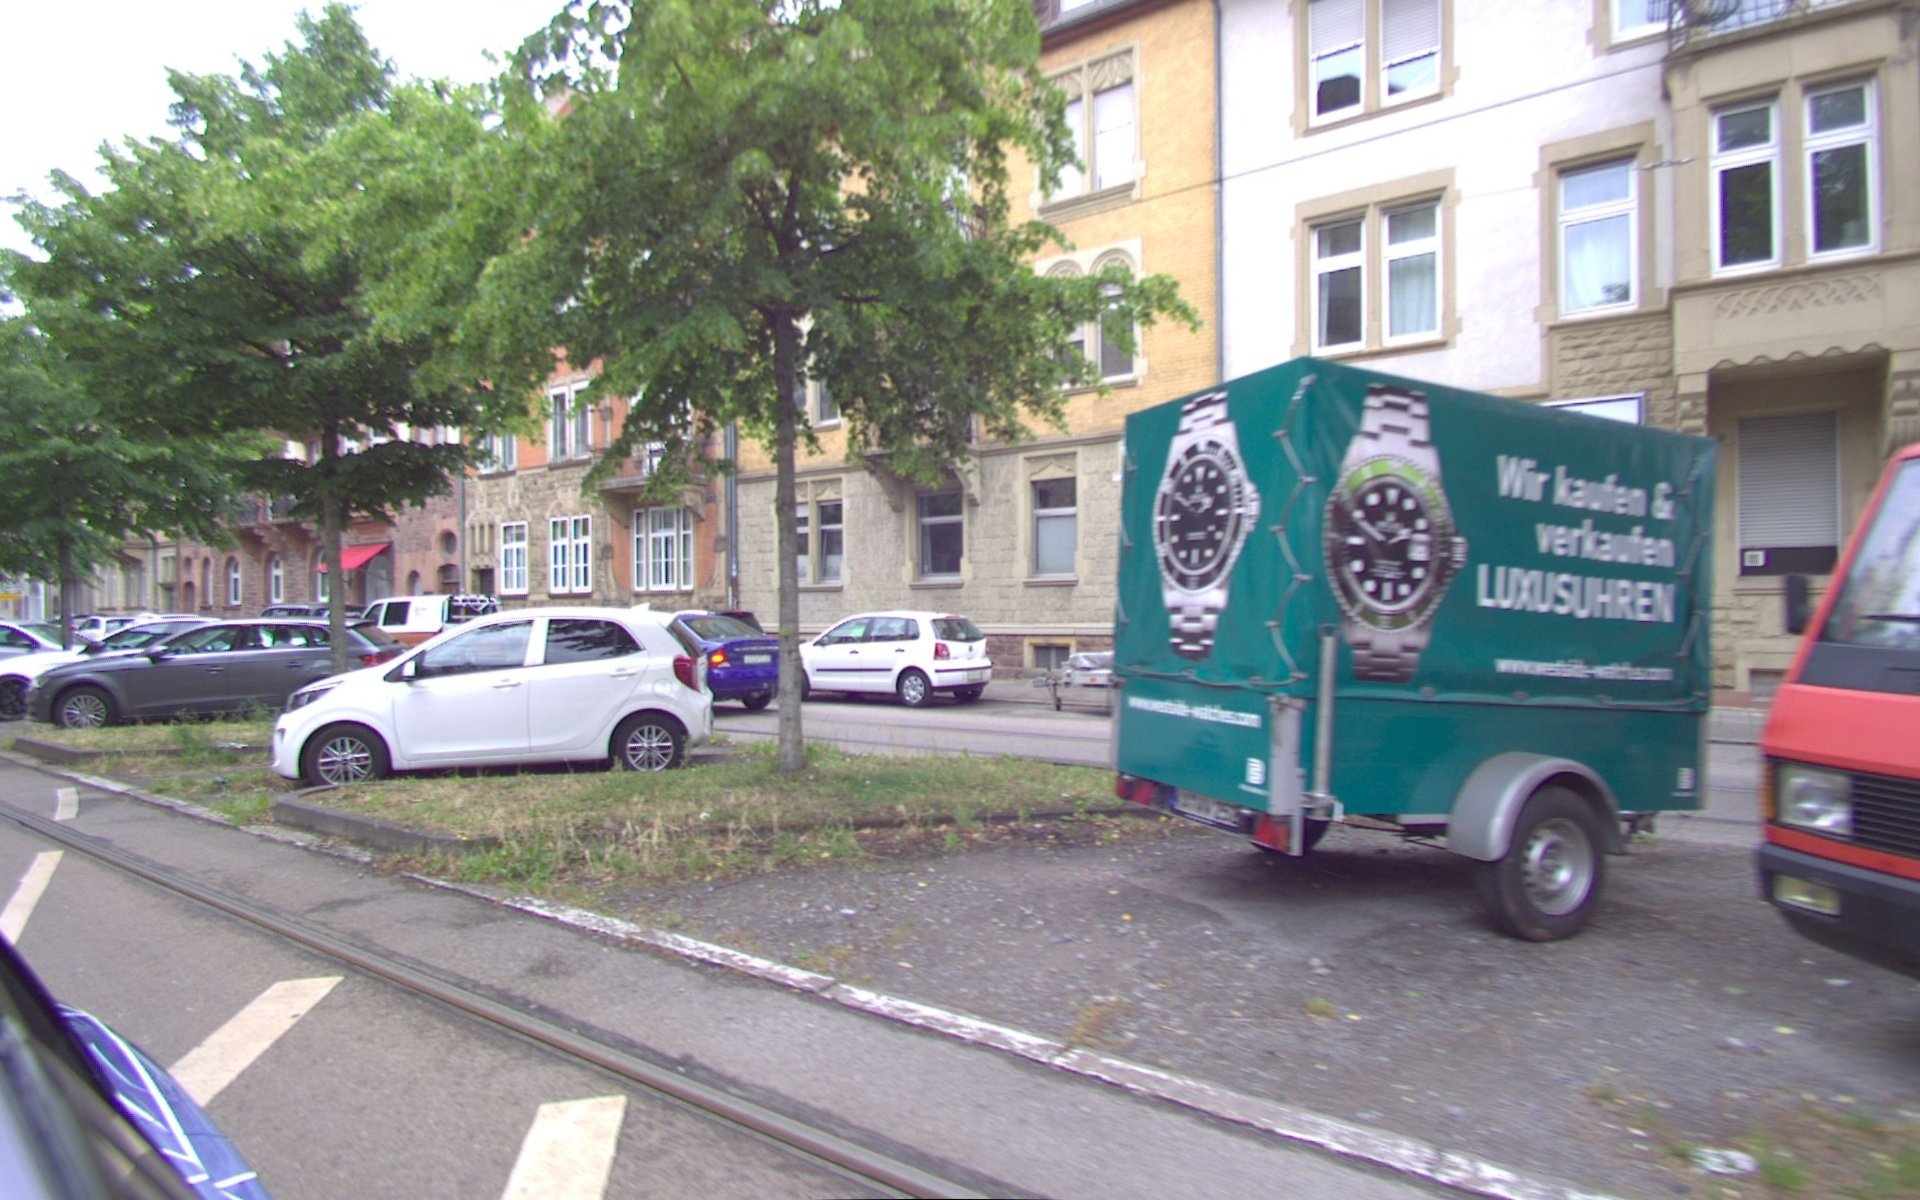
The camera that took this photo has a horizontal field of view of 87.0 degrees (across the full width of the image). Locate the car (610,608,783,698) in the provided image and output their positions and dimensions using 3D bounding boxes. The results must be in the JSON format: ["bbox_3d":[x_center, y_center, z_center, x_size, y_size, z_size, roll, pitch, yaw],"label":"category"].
[{"bbox_3d":[-5.001,0.952,19.153,2.943,1.562,1.621,-1,-1,34],"label":"car"}]

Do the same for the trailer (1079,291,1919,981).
[{"bbox_3d":[2.674,0.117,5.035,3.607,2.362,1.937,0,-1,-22],"label":"trailer"}]

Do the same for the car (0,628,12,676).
[{"bbox_3d":[-26.680,1.375,25.414,3.898,1.211,1.672,-1,0,-11],"label":"car"}]

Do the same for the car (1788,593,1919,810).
[{"bbox_3d":[7.789,0.633,6.334,3.874,1.393,1.630,-1,0,35],"label":"car"}]

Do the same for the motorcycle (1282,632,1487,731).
[{"bbox_3d":[5.073,0.931,12.263,0.699,1.046,2.235,0,-1,-38],"label":"motorcycle"}]

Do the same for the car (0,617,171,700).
[{"bbox_3d":[-18.056,1.114,19.553,4.049,1.495,1.802,-1,0,-14],"label":"car"}]

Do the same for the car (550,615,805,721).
[{"bbox_3d":[-4.313,0.932,15.263,3.874,1.393,1.630,-1,0,35],"label":"car"}]

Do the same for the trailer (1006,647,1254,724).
[{"bbox_3d":[2.302,1.116,13.917,3.068,0.899,1.442,-1,-2,34],"label":"trailer"}]

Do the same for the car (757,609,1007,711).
[{"bbox_3d":[-1.322,0.910,16.470,3.913,1.454,1.621,-1,-1,34],"label":"car"}]

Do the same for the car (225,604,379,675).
[{"bbox_3d":[-18.257,1.040,27.976,5.105,1.795,1.798,-1,0,35],"label":"car"}]

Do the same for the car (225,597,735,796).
[{"bbox_3d":[-3.958,0.750,8.987,3.799,1.474,1.694,-1,-1,-12],"label":"car"}]

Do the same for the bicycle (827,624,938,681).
[{"bbox_3d":[-1.576,1.030,20.311,2.253,1.081,0.705,-1,-1,34],"label":"bicycle"}]

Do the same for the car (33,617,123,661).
[{"bbox_3d":[-35.498,1.521,40.714,4.310,1.641,1.754,-1,0,35],"label":"car"}]

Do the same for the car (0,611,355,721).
[{"bbox_3d":[-11.951,0.930,15.165,4.609,1.446,1.904,-1,-1,-15],"label":"car"}]

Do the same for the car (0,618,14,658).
[{"bbox_3d":[-38.330,1.459,39.153,4.611,1.515,1.630,-1,0,35],"label":"car"}]

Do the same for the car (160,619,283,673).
[{"bbox_3d":[-23.210,1.386,31.756,4.543,1.553,1.725,-1,0,35],"label":"car"}]

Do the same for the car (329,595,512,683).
[{"bbox_3d":[-13.294,0.895,24.827,5.082,1.967,1.865,-1,0,35],"label":"car"}]

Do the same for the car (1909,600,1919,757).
[{"bbox_3d":[10.488,0.688,7.669,4.558,1.454,1.621,-1,-1,34],"label":"car"}]

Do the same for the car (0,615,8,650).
[{"bbox_3d":[-49.307,1.615,50.494,4.263,1.692,1.789,-1,0,35],"label":"car"}]

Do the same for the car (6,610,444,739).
[{"bbox_3d":[-9.370,0.895,13.310,4.268,1.446,1.903,-1,-1,-12],"label":"car"}]

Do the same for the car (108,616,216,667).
[{"bbox_3d":[-27.751,1.387,35.166,4.543,1.639,1.725,-1,0,35],"label":"car"}]

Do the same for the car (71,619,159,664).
[{"bbox_3d":[-31.924,1.533,38.199,3.713,1.571,1.648,-1,0,35],"label":"car"}]

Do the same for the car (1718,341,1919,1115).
[{"bbox_3d":[4.855,0.301,2.784,4.687,1.989,1.965,-1,-1,-16],"label":"car"}]

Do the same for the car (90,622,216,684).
[{"bbox_3d":[-21.646,1.362,27.114,3.874,1.515,1.630,-1,0,35],"label":"car"}]
